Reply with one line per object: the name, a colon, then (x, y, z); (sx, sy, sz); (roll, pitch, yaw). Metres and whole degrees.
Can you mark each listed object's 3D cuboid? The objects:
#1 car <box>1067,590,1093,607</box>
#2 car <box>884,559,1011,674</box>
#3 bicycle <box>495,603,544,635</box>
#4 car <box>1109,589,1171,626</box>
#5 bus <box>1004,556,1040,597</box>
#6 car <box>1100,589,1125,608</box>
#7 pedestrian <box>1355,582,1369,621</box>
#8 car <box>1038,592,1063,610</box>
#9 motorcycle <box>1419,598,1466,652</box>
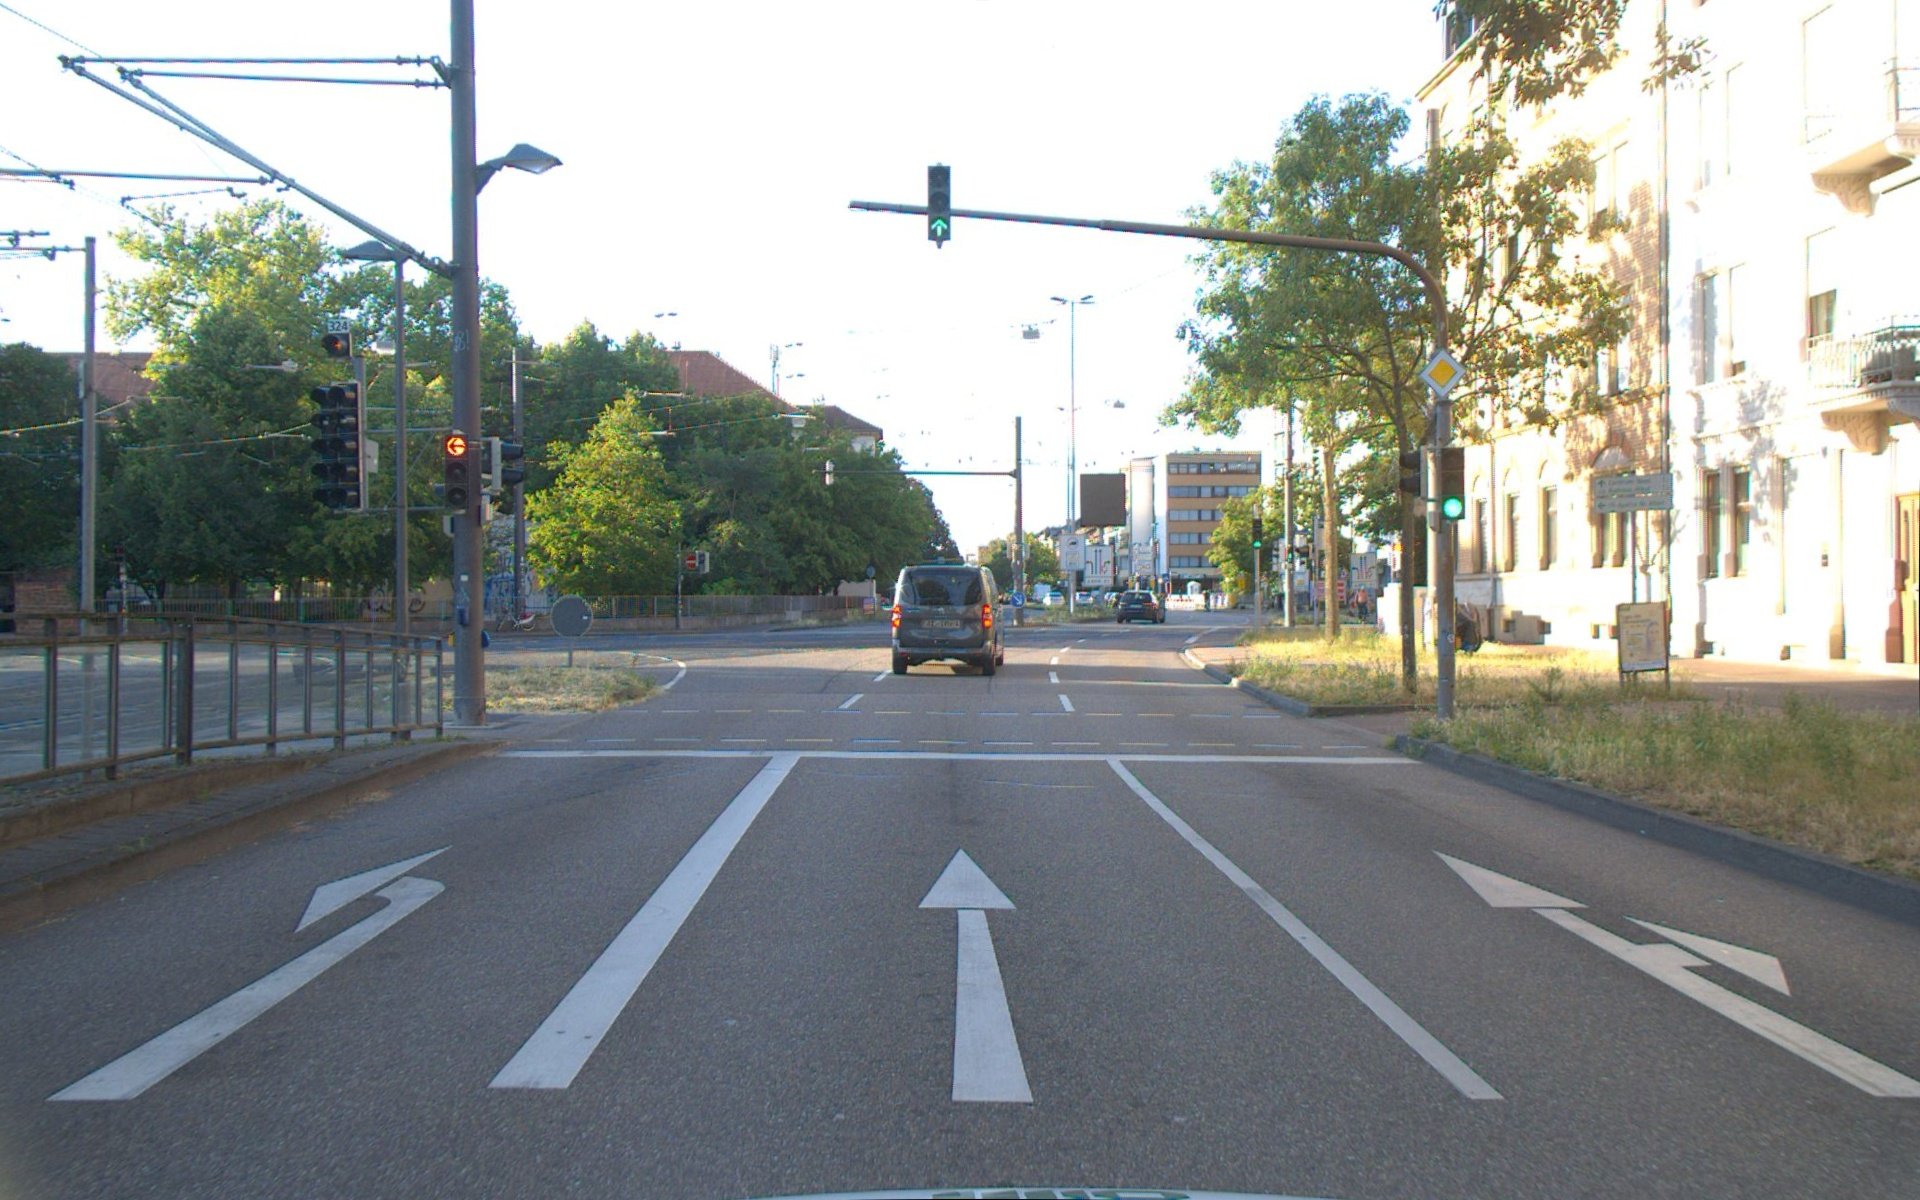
car: (11.613, -0.148, 160.039); (1.954, 1.685, 4.296); (-1, 0, -4)
car: (-0.149, 0.281, 30.526); (1.952, 1.934, 4.301); (1, 0, 4)
bicycle: (-16.495, 0.696, 61.993); (1.708, 1.162, 0.550); (-1, 0, -44)
car: (7.930, 0.333, 72.607); (1.807, 1.571, 3.632); (0, 0, 21)
bus: (7.332, -2.729, 197.240); (3.225, 4.698, 9.991); (1, 0, -4)
car: (14.321, -0.156, 155.368); (1.953, 1.685, 4.299); (-1, 0, 0)
pedestrian: (17.305, 0.074, 71.208); (0.540, 1.657, 0.700); (-1, 0, 8)
car: (8.696, 0.090, 159.155); (1.954, 1.685, 4.296); (-1, 0, -4)
motorcycle: (9.741, 0.491, 33.458); (0.591, 1.062, 1.745); (0, 0, 5)
